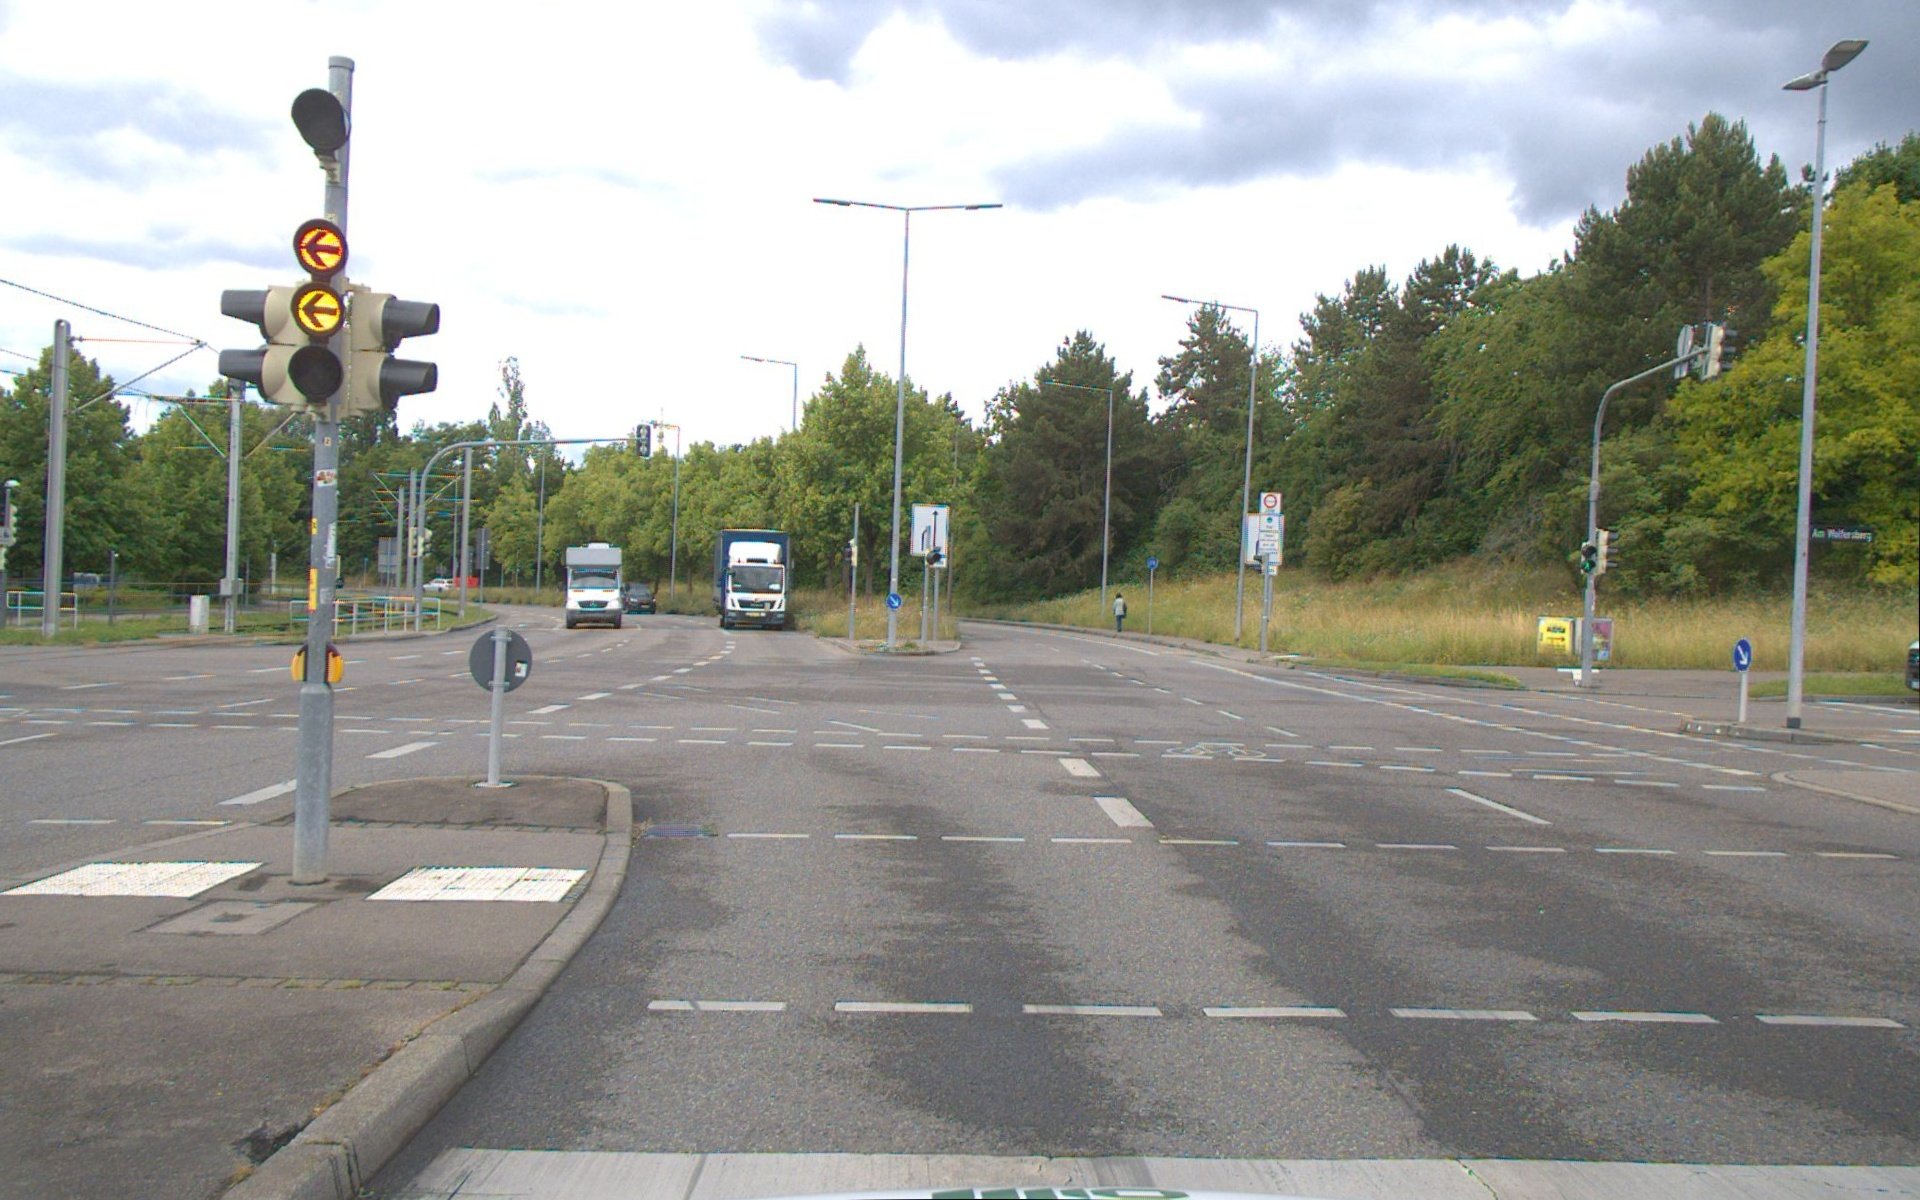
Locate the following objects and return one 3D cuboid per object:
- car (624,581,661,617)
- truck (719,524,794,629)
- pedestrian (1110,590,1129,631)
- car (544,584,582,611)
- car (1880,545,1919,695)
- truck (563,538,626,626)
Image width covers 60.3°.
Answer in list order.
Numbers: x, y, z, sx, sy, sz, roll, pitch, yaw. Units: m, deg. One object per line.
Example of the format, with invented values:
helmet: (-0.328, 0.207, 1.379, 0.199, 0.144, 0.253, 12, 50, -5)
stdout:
car: (-19.159, -0.089, 99.565, 1.960, 2.049, 4.592, 1, 0, -14)
truck: (-8.137, -0.902, 65.616, 2.726, 3.871, 8.374, 1, 0, -8)
pedestrian: (7.000, 0.455, 72.737, 0.724, 1.747, 0.625, 1, 0, -1)
car: (-27.947, -0.167, 116.338, 1.967, 1.814, 3.971, 1, 0, -23)
car: (20.290, 0.407, 30.141, 5.818, 2.705, 2.228, 1, -1, 1)
truck: (-13.668, -0.647, 61.971, 2.068, 3.063, 6.254, -2, 1, -12)
